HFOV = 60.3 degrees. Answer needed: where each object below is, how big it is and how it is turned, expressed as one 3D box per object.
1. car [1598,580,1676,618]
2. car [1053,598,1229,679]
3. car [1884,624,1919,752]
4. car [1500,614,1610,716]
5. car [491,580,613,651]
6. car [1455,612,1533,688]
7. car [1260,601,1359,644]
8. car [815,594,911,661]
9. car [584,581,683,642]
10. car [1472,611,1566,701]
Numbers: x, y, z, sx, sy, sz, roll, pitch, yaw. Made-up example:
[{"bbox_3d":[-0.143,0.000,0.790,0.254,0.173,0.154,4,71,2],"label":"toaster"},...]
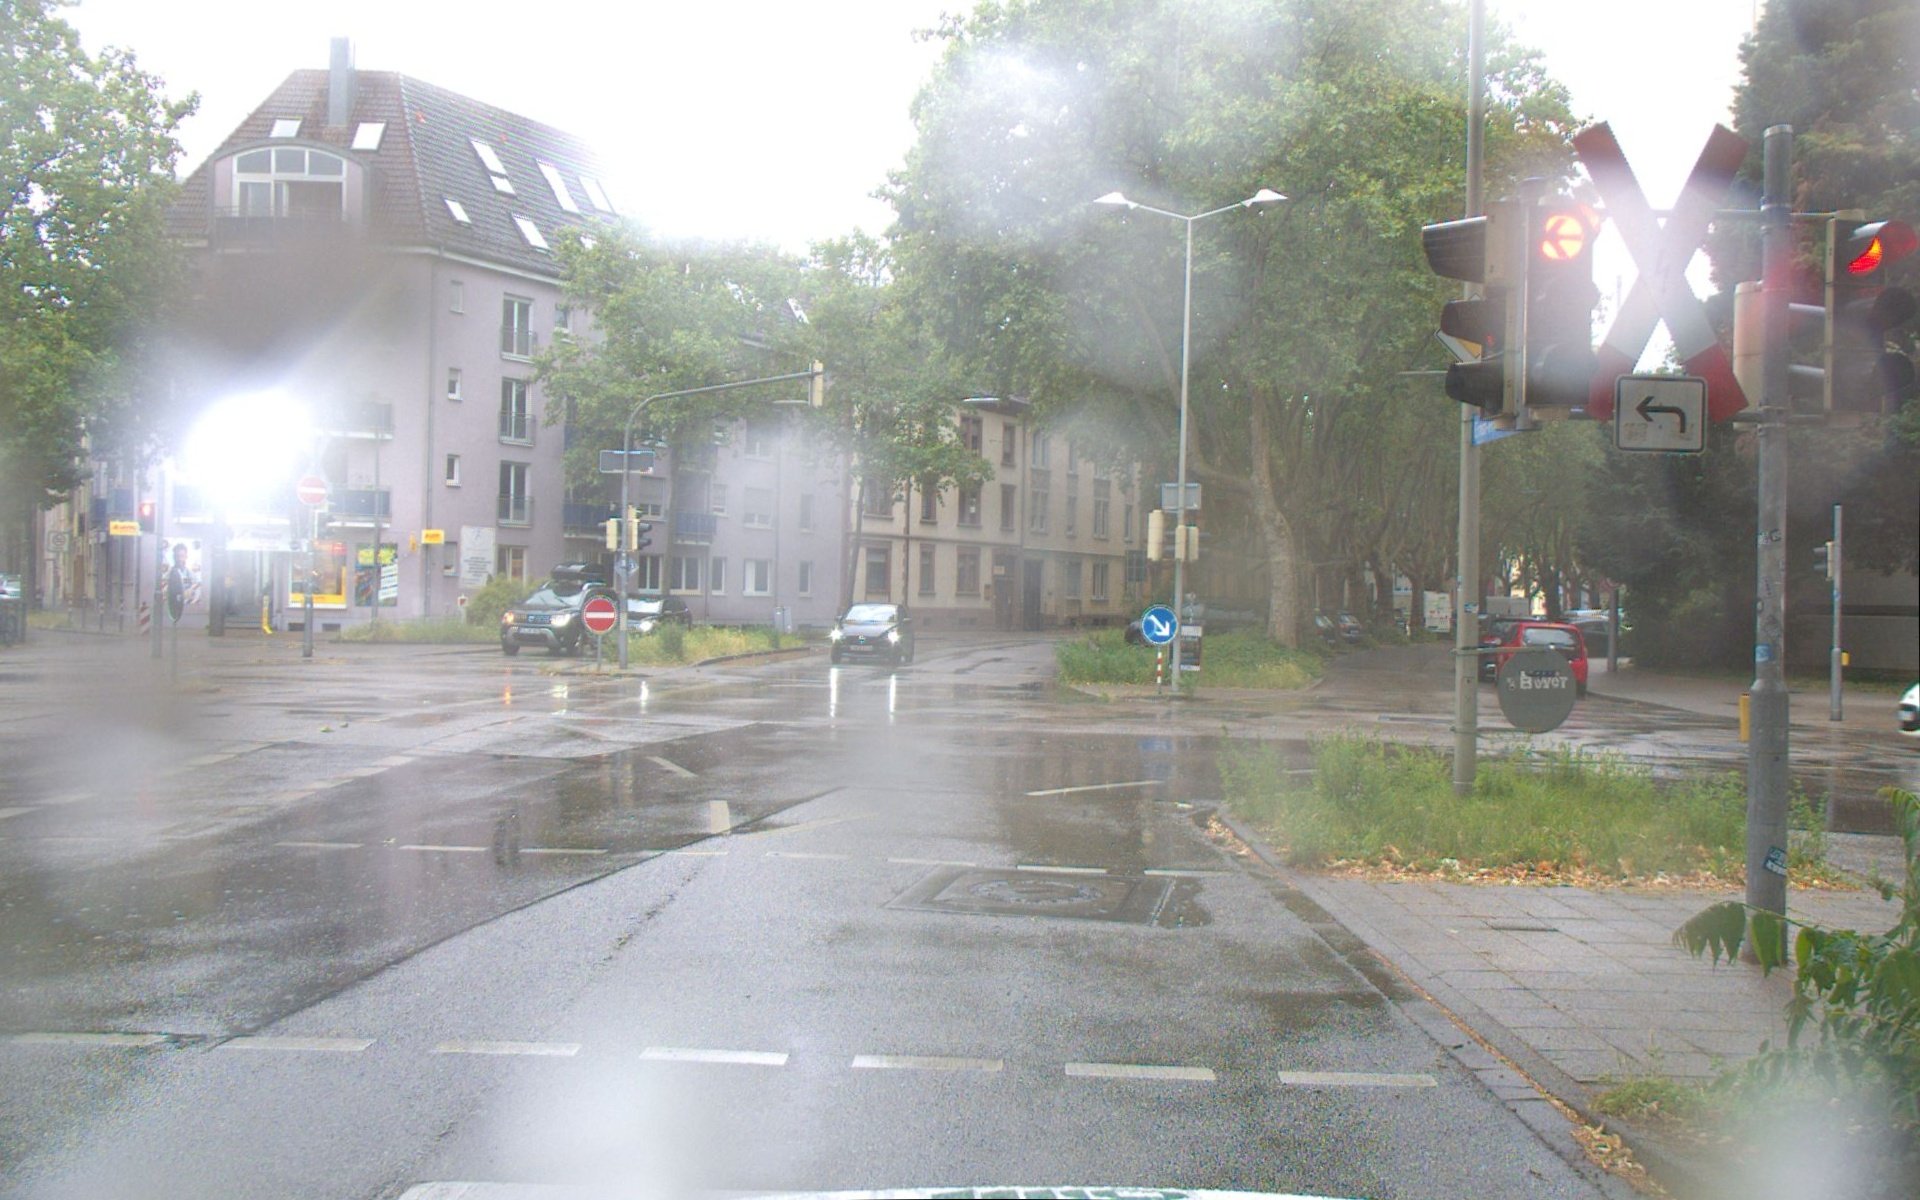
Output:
[{"bbox_3d":[37.827,-0.060,92.492,3.903,2.049,1.708,0,0,19],"label":"car"},{"bbox_3d":[3.626,0.754,33.067,3.405,1.550,1.521,0,0,8],"label":"car"},{"bbox_3d":[13.488,1.068,20.160,3.564,1.512,1.726,0,0,15],"label":"car"},{"bbox_3d":[13.088,1.380,36.595,1.951,2.049,4.003,0,0,15],"label":"car"},{"bbox_3d":[-9.469,0.333,38.669,1.688,1.579,3.562,0,0,5],"label":"car"},{"bbox_3d":[15.470,1.405,48.102,1.951,2.049,4.003,0,0,15],"label":"car"},{"bbox_3d":[13.830,0.869,65.446,3.537,1.646,1.679,0,0,28],"label":"car"},{"bbox_3d":[-2.347,0.648,40.930,1.568,1.579,3.563,0,0,10],"label":"car"},{"bbox_3d":[-8.786,0.287,44.796,1.688,1.579,3.562,0,0,5],"label":"car"},{"bbox_3d":[13.864,1.344,41.191,1.951,2.049,4.003,0,0,15],"label":"car"}]
